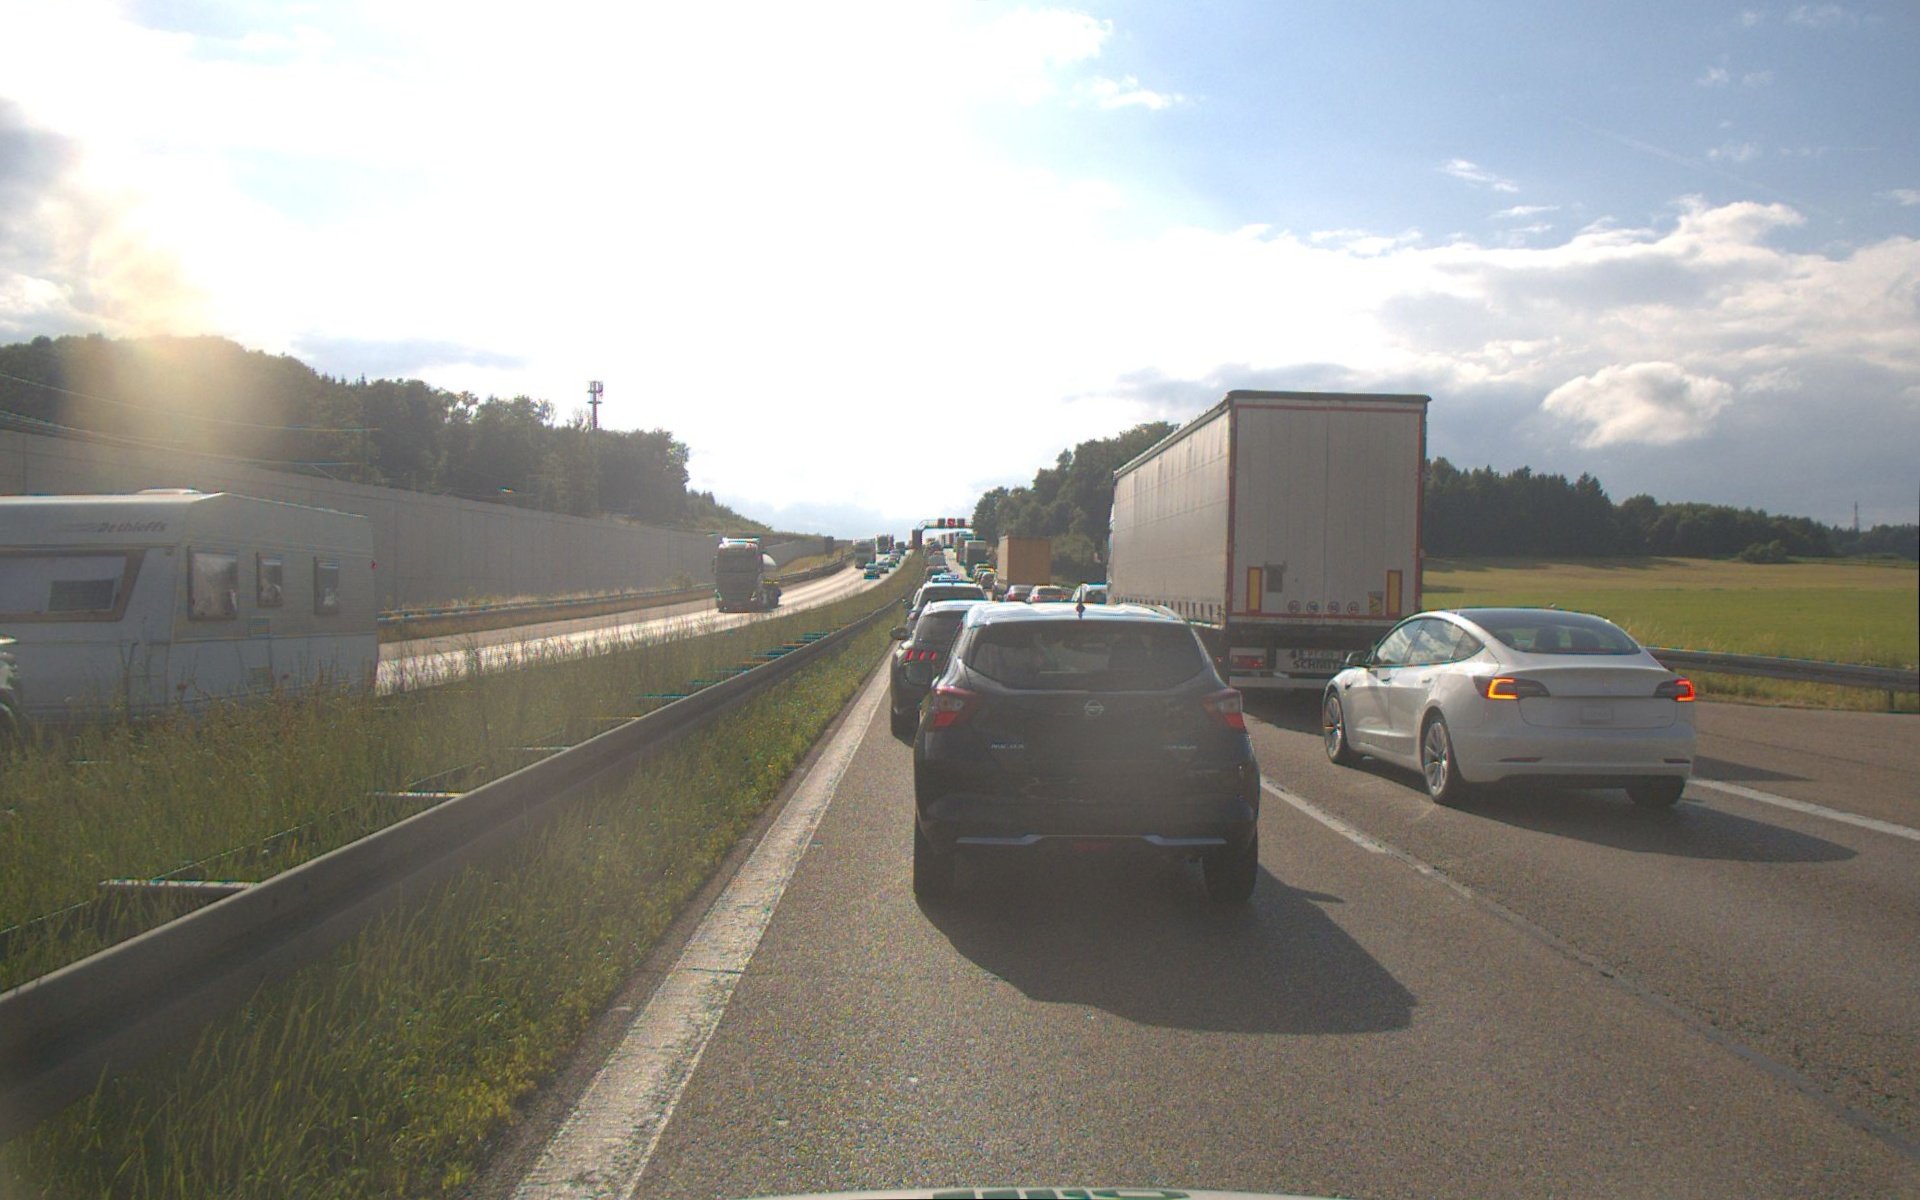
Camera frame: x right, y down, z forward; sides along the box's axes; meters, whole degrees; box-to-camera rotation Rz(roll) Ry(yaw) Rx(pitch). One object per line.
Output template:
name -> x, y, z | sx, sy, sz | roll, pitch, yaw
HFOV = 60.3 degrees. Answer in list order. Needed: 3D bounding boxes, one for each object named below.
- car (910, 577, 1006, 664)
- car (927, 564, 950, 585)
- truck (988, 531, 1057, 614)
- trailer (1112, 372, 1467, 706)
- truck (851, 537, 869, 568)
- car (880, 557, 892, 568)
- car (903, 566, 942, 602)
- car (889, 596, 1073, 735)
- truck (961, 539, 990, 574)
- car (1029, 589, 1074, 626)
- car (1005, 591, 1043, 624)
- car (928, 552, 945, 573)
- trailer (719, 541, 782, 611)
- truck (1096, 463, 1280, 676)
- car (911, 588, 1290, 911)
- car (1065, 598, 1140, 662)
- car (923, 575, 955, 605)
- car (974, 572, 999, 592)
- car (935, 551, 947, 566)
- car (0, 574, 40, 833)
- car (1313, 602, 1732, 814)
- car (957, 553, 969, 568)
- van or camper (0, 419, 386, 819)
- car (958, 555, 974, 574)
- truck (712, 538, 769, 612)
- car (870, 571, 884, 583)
car -> -0.058, 0.392, 33.792 | 1.835, 1.673, 4.231 | 0, 0, -1
car -> -1.809, -2.141, 138.654 | 1.835, 1.673, 4.231 | 0, 2, -2
truck -> 3.676, -1.514, 100.827 | 3.230, 4.657, 12.435 | 1, 0, -2
trailer -> 4.683, -0.654, 27.109 | 3.067, 4.081, 13.364 | 1, -1, 0
truck -> -14.689, -6.953, 242.265 | 2.332, 4.254, 5.931 | -1, 0, -1
car -> -10.914, -5.572, 243.950 | 1.733, 1.505, 3.828 | 0, 0, 0
car -> -1.768, -0.780, 79.299 | 1.835, 1.673, 4.232 | 0, 1, -1
car -> 0.184, 0.656, 18.584 | 1.835, 1.381, 4.231 | 0, 0, -1
truck -> 2.079, -5.910, 225.826 | 3.394, 4.656, 12.437 | 1, 1, -2
car -> 4.289, 0.321, 77.875 | 1.835, 1.673, 4.232 | 0, 1, -1
car -> 3.354, 0.370, 87.307 | 1.835, 1.673, 4.232 | 0, 1, -1
car -> -2.586, -4.127, 182.712 | 1.835, 2.196, 5.211 | 0, 3, -1
trailer -> -12.493, -1.361, 99.468 | 2.535, 3.970, 10.862 | -1, 0, -1
truck -> 4.641, -0.559, 34.640 | 3.069, 4.086, 5.163 | 1, -1, 0
car -> 0.622, 0.684, 9.694 | 1.737, 1.476, 4.231 | 0, 0, -1
car -> 3.792, 0.762, 44.543 | 1.663, 1.639, 4.437 | 0, 0, 0
car -> -1.238, -0.620, 98.752 | 1.835, 1.673, 4.232 | 0, 2, -1
car -> 2.306, -1.589, 143.127 | 1.836, 1.673, 4.229 | 0, 2, -4
car -> -2.851, -6.328, 251.834 | 1.835, 2.196, 5.211 | 0, 3, -1
car -> -7.203, 0.685, 9.142 | 1.871, 1.701, 4.361 | 0, 0, -1
car -> 4.347, 0.746, 13.582 | 1.753, 1.418, 4.434 | 0, 0, -3
car -> 0.431, -6.140, 255.269 | 1.835, 2.196, 5.211 | 0, 3, -1
van or camper -> -7.461, 0.126, 14.951 | 2.207, 2.751, 7.168 | 0, 0, -1
car -> 0.762, -4.306, 200.106 | 1.835, 2.196, 5.211 | 0, 3, -1
truck -> -12.391, -1.380, 93.854 | 2.530, 3.991, 5.721 | -1, 0, -1
car -> -10.760, -2.986, 215.152 | 1.663, 1.525, 4.426 | 0, 0, -1
